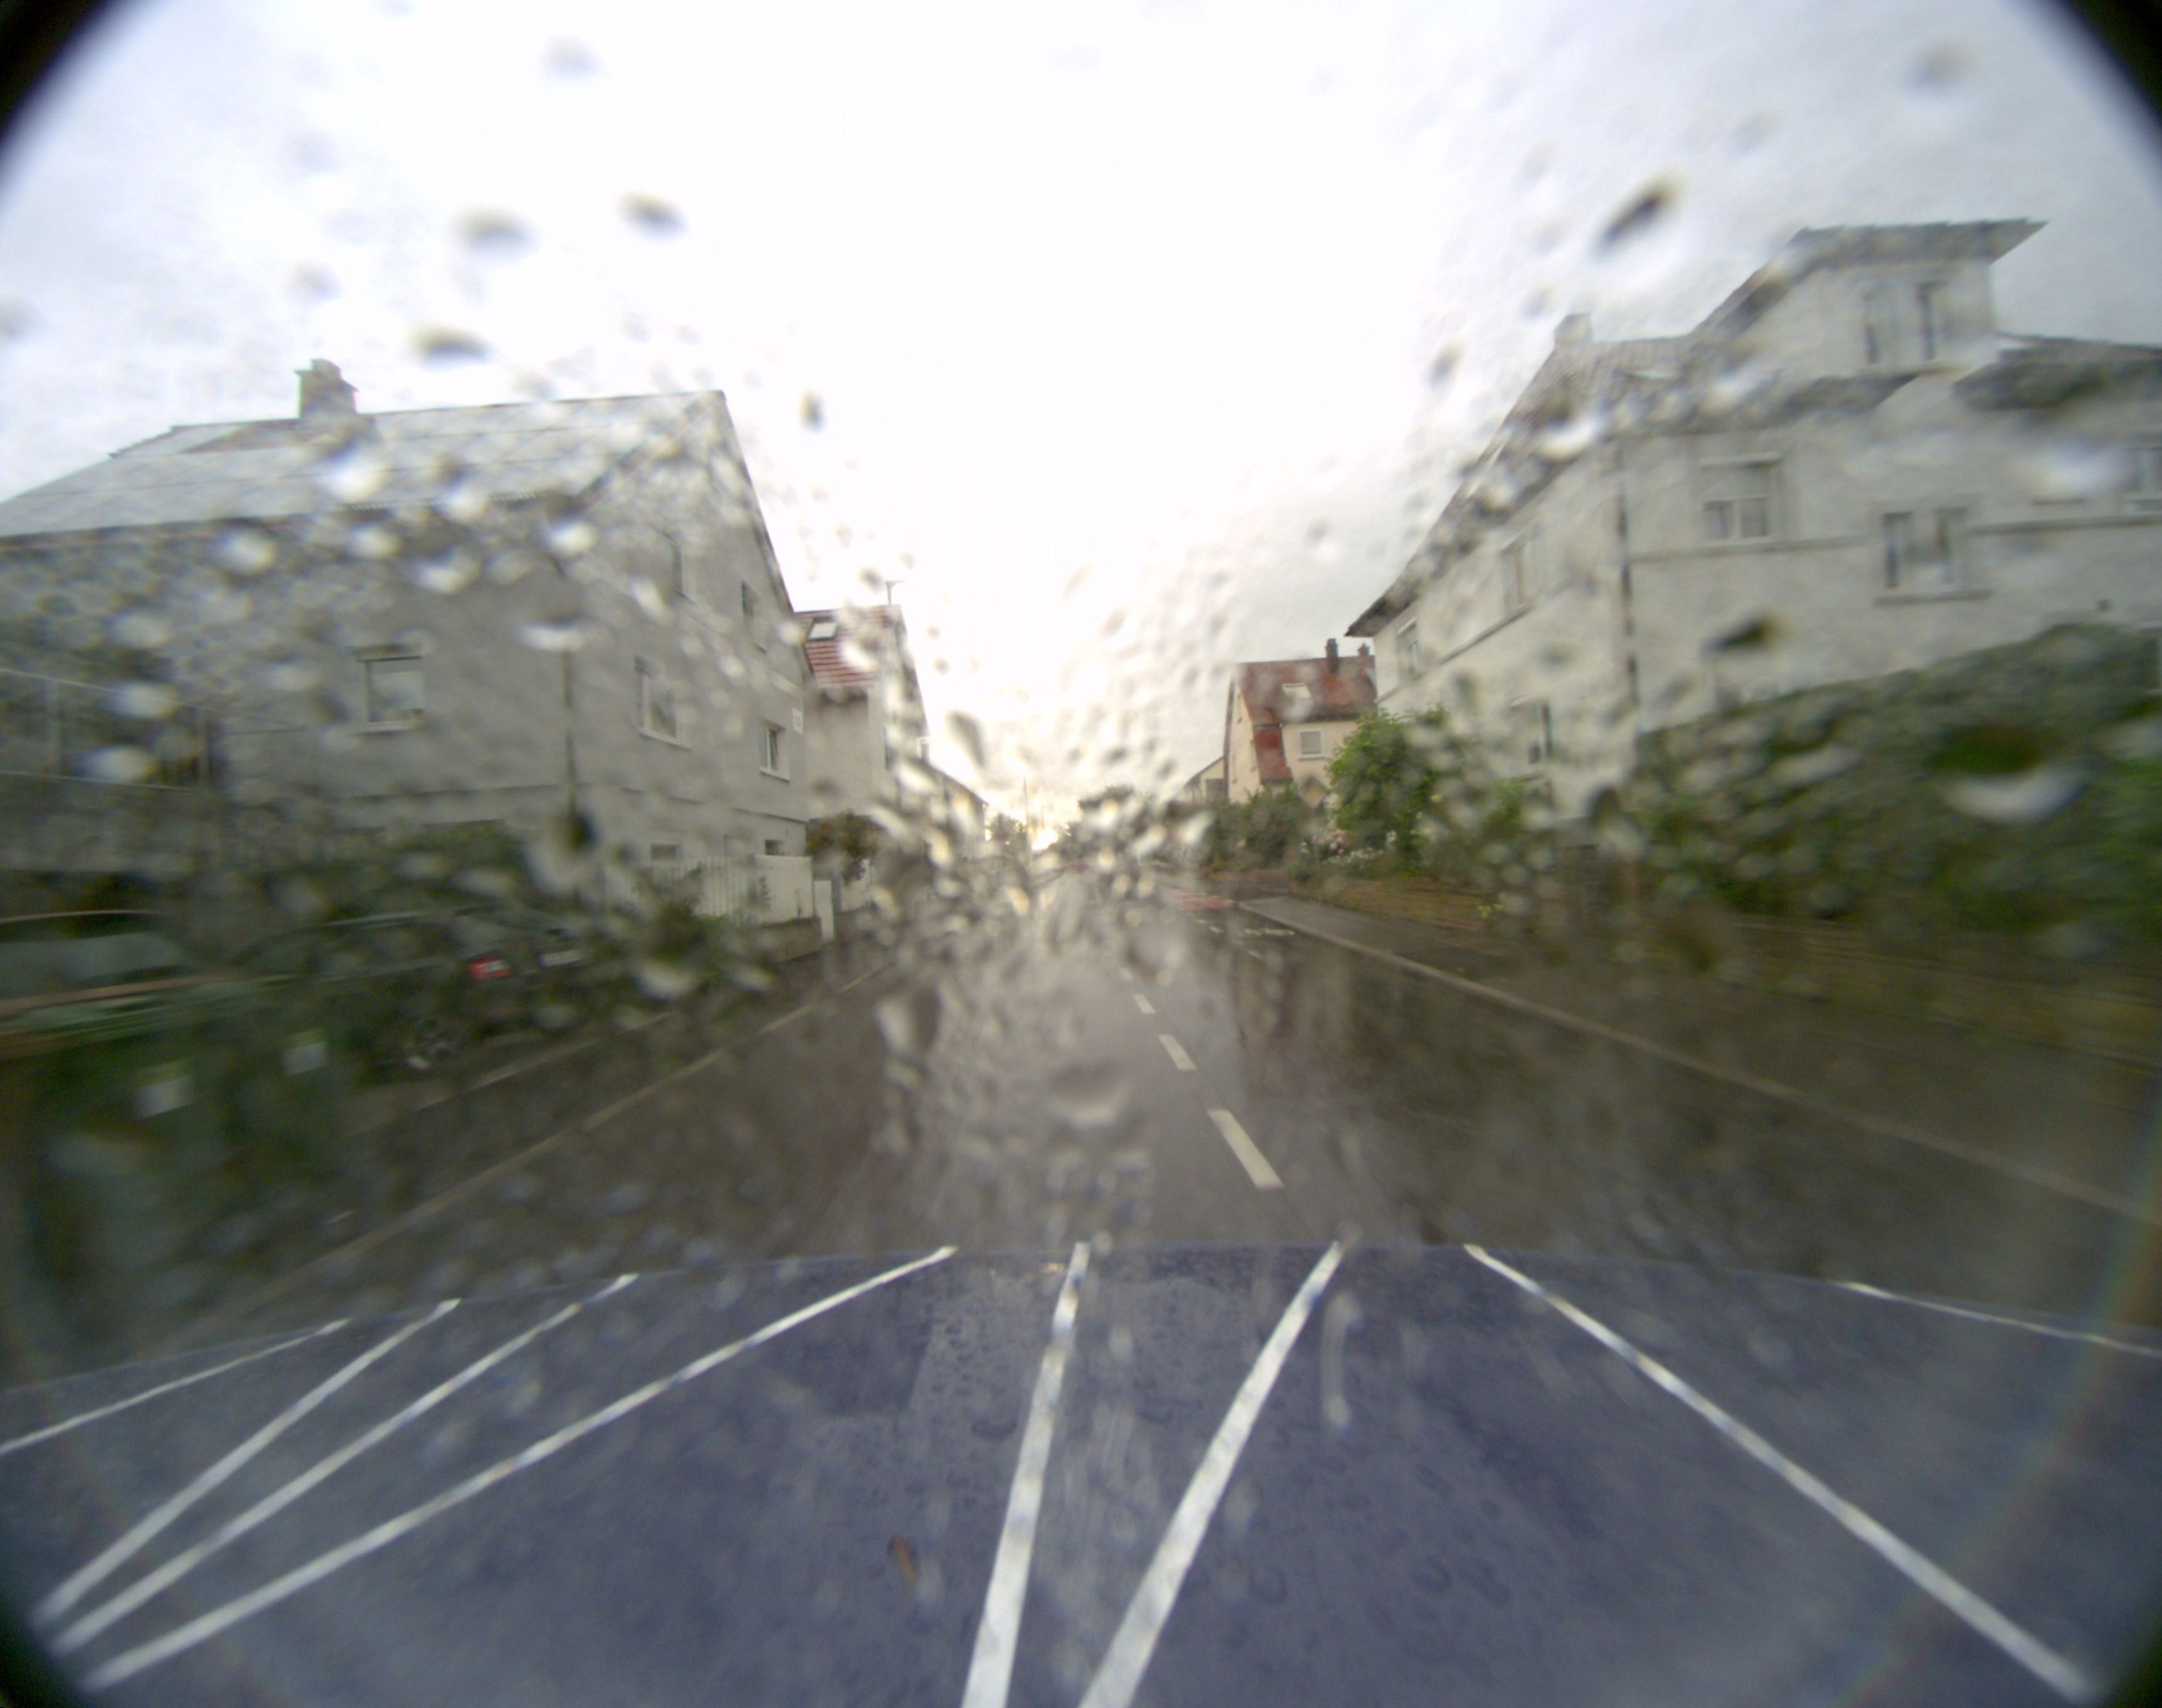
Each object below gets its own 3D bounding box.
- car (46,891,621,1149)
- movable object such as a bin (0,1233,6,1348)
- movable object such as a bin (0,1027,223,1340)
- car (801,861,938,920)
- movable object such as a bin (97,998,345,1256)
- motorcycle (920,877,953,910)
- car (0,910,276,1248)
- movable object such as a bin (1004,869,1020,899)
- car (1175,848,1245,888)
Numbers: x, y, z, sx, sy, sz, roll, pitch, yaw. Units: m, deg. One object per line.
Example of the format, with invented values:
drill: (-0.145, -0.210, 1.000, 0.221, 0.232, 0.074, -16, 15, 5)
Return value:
car: (-6.429, 1.363, 6.829, 3.453, 1.473, 1.580, -9, 0, 1)
movable object such as a bin: (-4.343, 1.320, 2.584, 0.569, 1.070, 0.523, -3, 0, -1)
movable object such as a bin: (-4.210, 1.331, 3.178, 0.569, 1.070, 0.538, -3, 0, -1)
car: (-6.265, 1.061, 22.819, 3.597, 1.574, 1.819, -2, 1, -2)
movable object such as a bin: (-4.245, 1.317, 3.791, 0.569, 1.070, 0.538, -3, 0, -1)
motorcycle: (-4.748, 1.278, 24.891, 0.557, 1.007, 1.147, -2, 1, -38)
car: (-6.803, 1.150, 3.971, 3.485, 1.501, 1.580, -2, 0, 1)
movable object such as a bin: (-2.802, 1.212, 30.949, 0.569, 1.179, 0.538, -2, 0, -1)
car: (8.475, 0.934, 49.992, 3.998, 1.963, 1.873, 9, -1, -2)
